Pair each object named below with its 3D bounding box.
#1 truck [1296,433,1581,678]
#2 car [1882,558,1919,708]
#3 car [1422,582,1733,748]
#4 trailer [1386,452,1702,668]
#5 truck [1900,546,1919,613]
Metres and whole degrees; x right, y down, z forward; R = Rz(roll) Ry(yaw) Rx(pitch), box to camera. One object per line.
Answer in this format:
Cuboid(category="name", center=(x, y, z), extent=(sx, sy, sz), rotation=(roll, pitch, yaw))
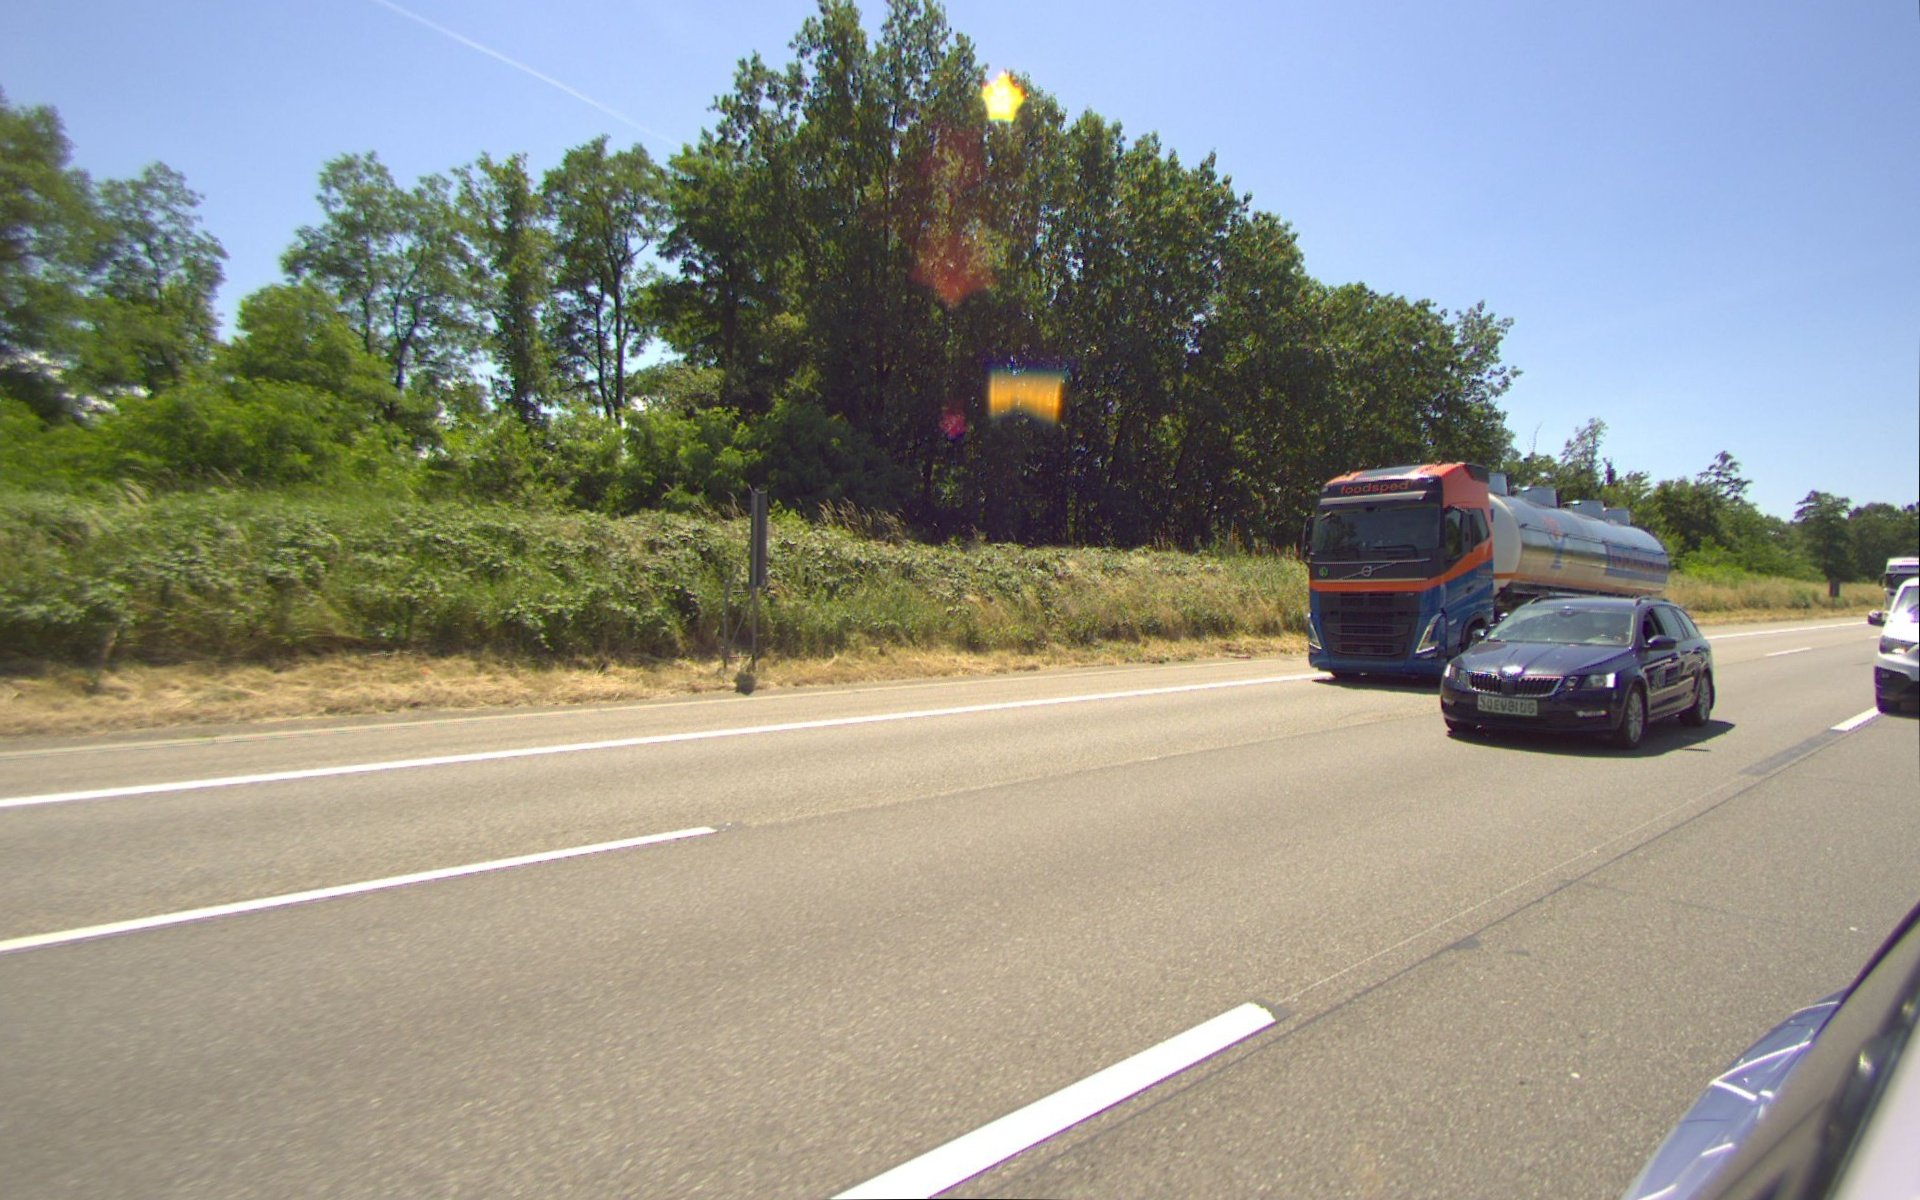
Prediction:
Cuboid(category="truck", center=(8.911, -0.707, 18.539), extent=(5.992, 3.781, 2.533), rotation=(0, 0, -41))
Cuboid(category="car", center=(14.013, 0.394, 13.662), extent=(4.856, 1.840, 1.868), rotation=(0, 0, -42))
Cuboid(category="car", center=(6.970, 0.570, 11.241), extent=(4.198, 1.502, 1.804), rotation=(0, 0, -42))
Cuboid(category="trailer", center=(13.402, -0.744, 22.461), extent=(11.347, 3.781, 2.533), rotation=(0, 0, -41))
Cuboid(category="truck", center=(59.848, -1.238, 62.085), extent=(6.066, 4.053, 2.601), rotation=(0, 0, -41))
